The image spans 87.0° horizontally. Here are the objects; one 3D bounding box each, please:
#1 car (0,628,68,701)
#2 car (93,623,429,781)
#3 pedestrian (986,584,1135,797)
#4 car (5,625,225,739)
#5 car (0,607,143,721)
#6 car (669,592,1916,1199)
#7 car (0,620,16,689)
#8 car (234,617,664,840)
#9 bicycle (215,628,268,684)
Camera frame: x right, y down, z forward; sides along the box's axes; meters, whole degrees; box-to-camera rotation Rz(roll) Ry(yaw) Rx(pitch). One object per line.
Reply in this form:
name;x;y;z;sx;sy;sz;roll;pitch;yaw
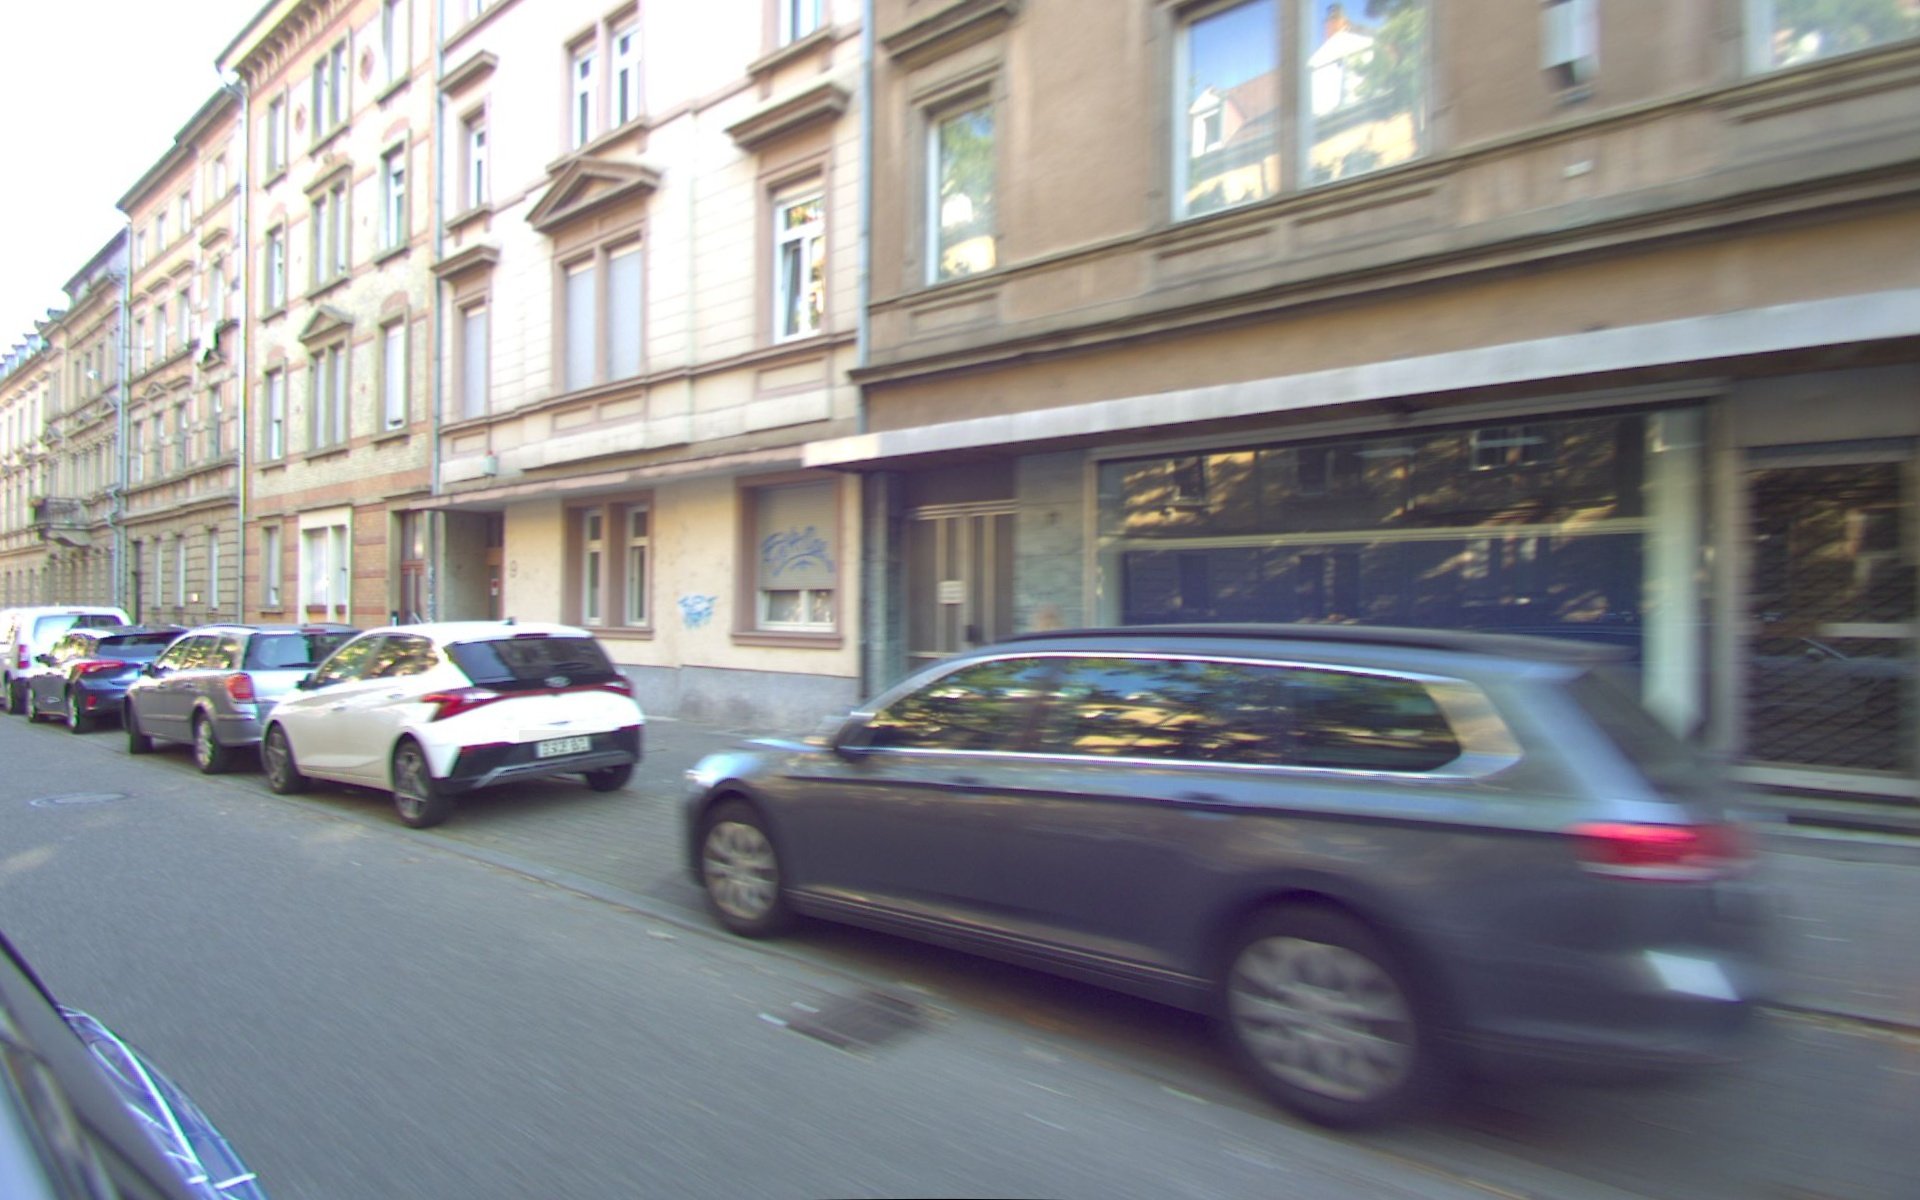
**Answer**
car;-20.560;1.341;21.580;3.819;1.432;1.621;-1;-1;37
car;-8.077;1.006;11.542;4.535;1.455;1.868;-1;-1;37
pedestrian;0.832;0.712;8.439;1.017;1.643;0.689;-1;-2;38
car;-12.863;1.127;15.317;4.239;1.484;1.730;-1;-2;38
car;-16.880;1.093;18.658;4.600;1.847;1.825;-1;-1;38
car;0.858;0.779;4.284;4.485;1.483;1.843;-1;-2;40
car;-25.386;1.366;25.520;4.153;1.670;1.749;-1;-1;39
car;-4.513;0.908;8.708;4.082;1.483;1.740;-1;-2;38
bicycle;-17.035;1.309;23.975;1.906;1.267;0.489;-1;-1;38
